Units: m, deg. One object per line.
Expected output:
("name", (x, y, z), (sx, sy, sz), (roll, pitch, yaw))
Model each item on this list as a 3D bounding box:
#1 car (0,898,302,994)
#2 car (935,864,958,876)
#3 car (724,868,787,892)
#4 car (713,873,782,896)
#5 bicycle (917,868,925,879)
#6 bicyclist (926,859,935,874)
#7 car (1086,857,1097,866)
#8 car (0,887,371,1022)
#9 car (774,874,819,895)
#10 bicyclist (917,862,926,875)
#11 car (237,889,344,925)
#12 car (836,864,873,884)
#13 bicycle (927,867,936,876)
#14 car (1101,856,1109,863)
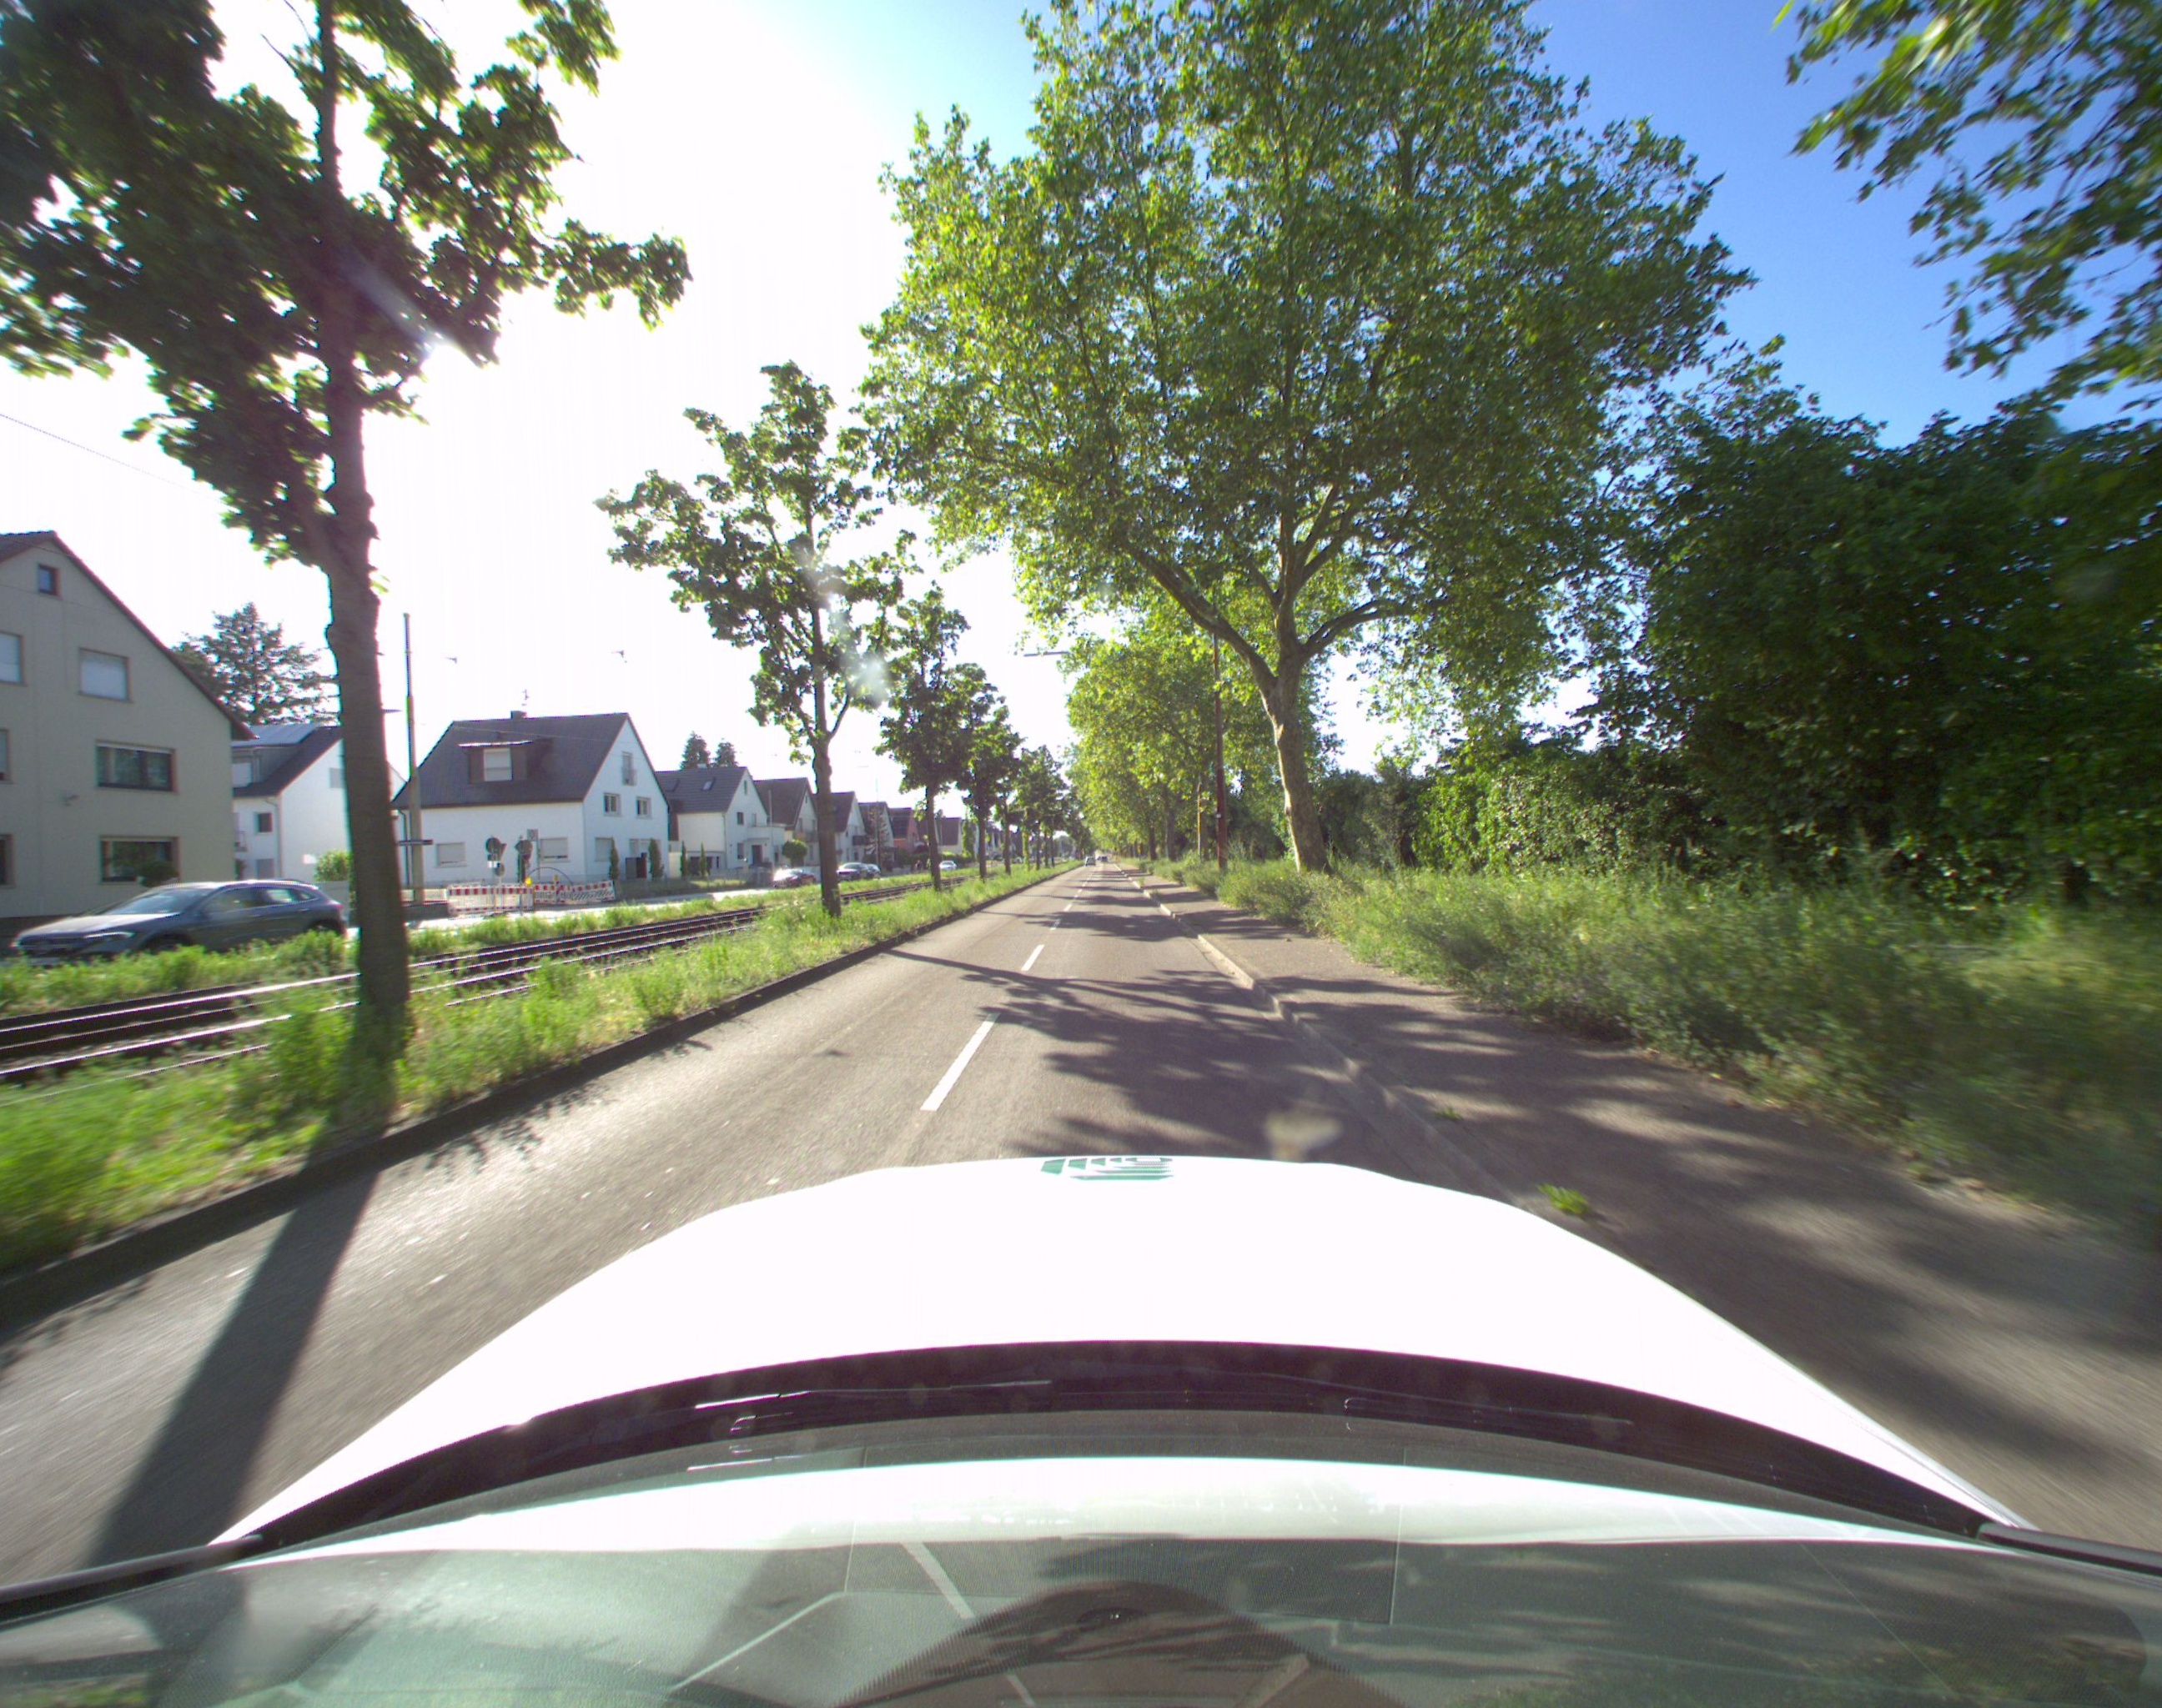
("car", (-20.892, 1.969, 18.460), (1.986, 1.581, 4.500), (-2, 0, 2))
("car", (-18.455, 2.174, 112.096), (1.984, 1.599, 4.738), (-2, 0, 5))
("car", (-24.992, 1.966, 62.687), (3.977, 1.669, 1.998), (-2, -1, -3))
("car", (-24.399, 2.227, 59.696), (4.203, 1.463, 1.936), (-2, -1, -3))
("bicycle", (-16.527, 2.023, 84.152), (0.397, 1.070, 1.880), (-3, 0, 2))
("bicyclist", (-16.339, 1.340, 88.469), (0.686, 1.652, 0.882), (-3, 0, 1))
("car", (1.647, 1.186, 126.279), (1.732, 1.401, 3.277), (-2, 0, 1))
("car", (-16.004, 1.650, 14.871), (1.908, 1.883, 4.526), (-2, 0, 3))
("car", (-19.573, 2.078, 56.242), (1.487, 1.326, 4.003), (-2, 0, 3))
("bicyclist", (-16.533, 1.506, 84.270), (0.686, 1.337, 0.882), (-2, 0, 1))
("car", (-45.906, 3.045, 47.397), (1.981, 1.776, 4.011), (-3, 0, 10))
("car", (-18.969, 1.681, 68.484), (1.637, 1.568, 4.389), (-2, 0, 3))
("bicycle", (-16.270, 1.921, 88.606), (0.397, 0.927, 2.097), (-3, 0, 2))
("car", (5.663, 1.262, 192.794), (1.754, 1.513, 3.278), (-2, 0, 2))
